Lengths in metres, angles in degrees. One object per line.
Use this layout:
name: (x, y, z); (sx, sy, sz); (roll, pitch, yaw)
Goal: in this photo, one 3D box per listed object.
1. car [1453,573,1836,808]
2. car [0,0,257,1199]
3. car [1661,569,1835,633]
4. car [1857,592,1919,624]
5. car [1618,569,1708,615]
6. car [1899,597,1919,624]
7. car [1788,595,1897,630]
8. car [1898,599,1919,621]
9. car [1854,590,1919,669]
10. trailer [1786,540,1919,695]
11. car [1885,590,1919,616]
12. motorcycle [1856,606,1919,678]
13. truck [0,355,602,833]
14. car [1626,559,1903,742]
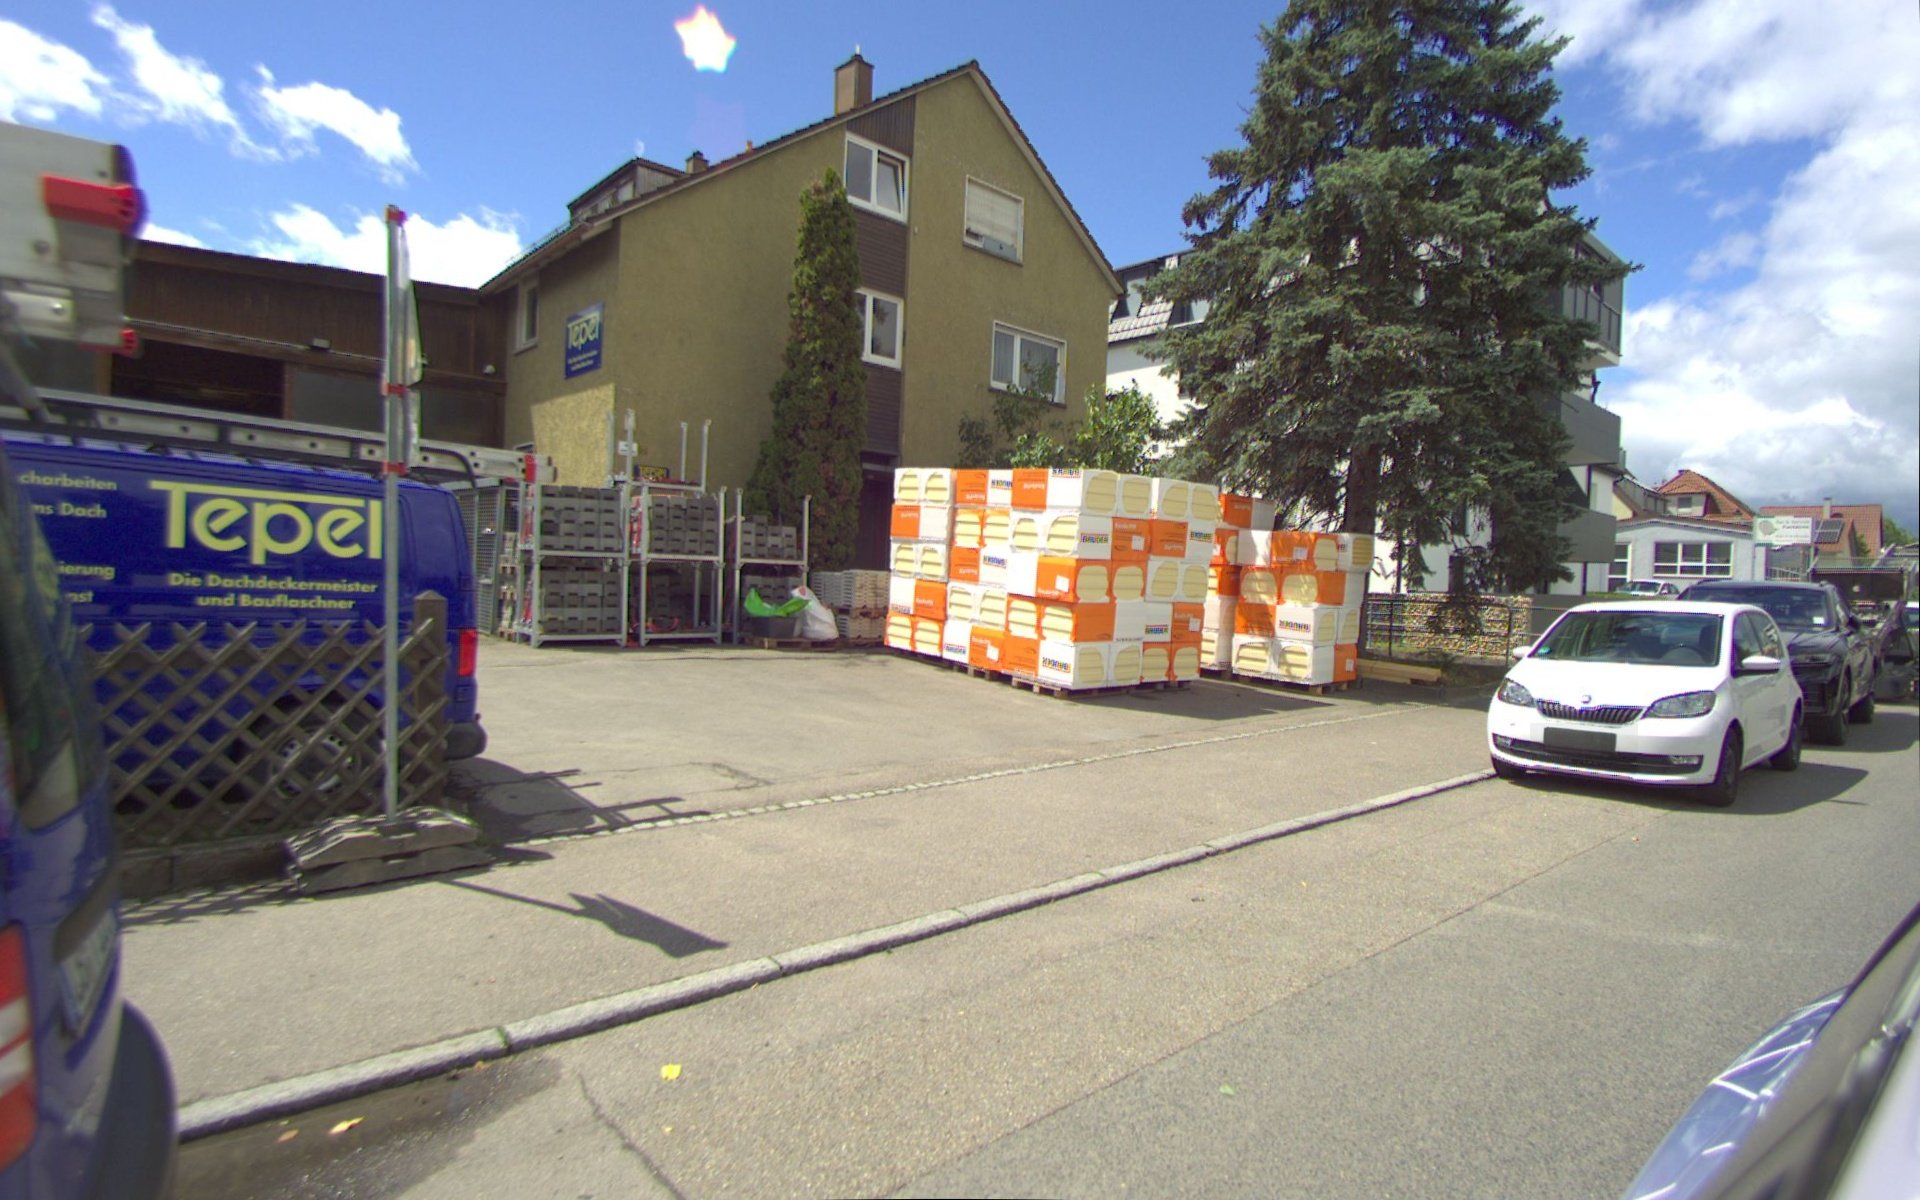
car: (6.019, 0.602, 8.731); (3.930, 1.526, 1.776); (1, 2, -42)
car: (-3.181, 0.315, 0.587); (4.386, 2.196, 1.877); (0, 0, -41)
car: (26.096, -0.011, 33.629); (1.834, 1.673, 4.203); (1, 5, -41)
car: (55.712, 0.508, 59.359); (1.942, 1.628, 4.414); (1, 4, -44)
car: (27.739, -0.314, 39.912); (3.593, 1.537, 1.639); (3, 3, -34)
car: (59.306, 0.742, 61.636); (1.942, 1.543, 2.892); (1, 4, -44)
car: (43.397, 0.604, 49.821); (1.719, 1.629, 3.904); (1, 0, -42)
car: (67.703, 0.807, 69.652); (1.942, 1.424, 4.414); (1, 4, -44)
car: (19.604, 0.600, 20.376); (3.911, 1.449, 1.724); (1, 3, -39)
trailer: (14.604, 0.230, 15.965); (4.043, 2.171, 1.776); (1, 2, -42)
car: (62.082, 0.310, 64.493); (1.942, 1.543, 4.414); (1, 4, -44)
motorcycle: (17.309, 0.771, 18.059); (1.796, 1.225, 0.714); (2, 1, 15)
truck: (-4.824, -0.095, 5.128); (5.292, 2.107, 1.833); (2, 3, -42)
car: (9.723, 0.472, 12.080); (4.633, 1.748, 1.876); (0, 2, -43)
